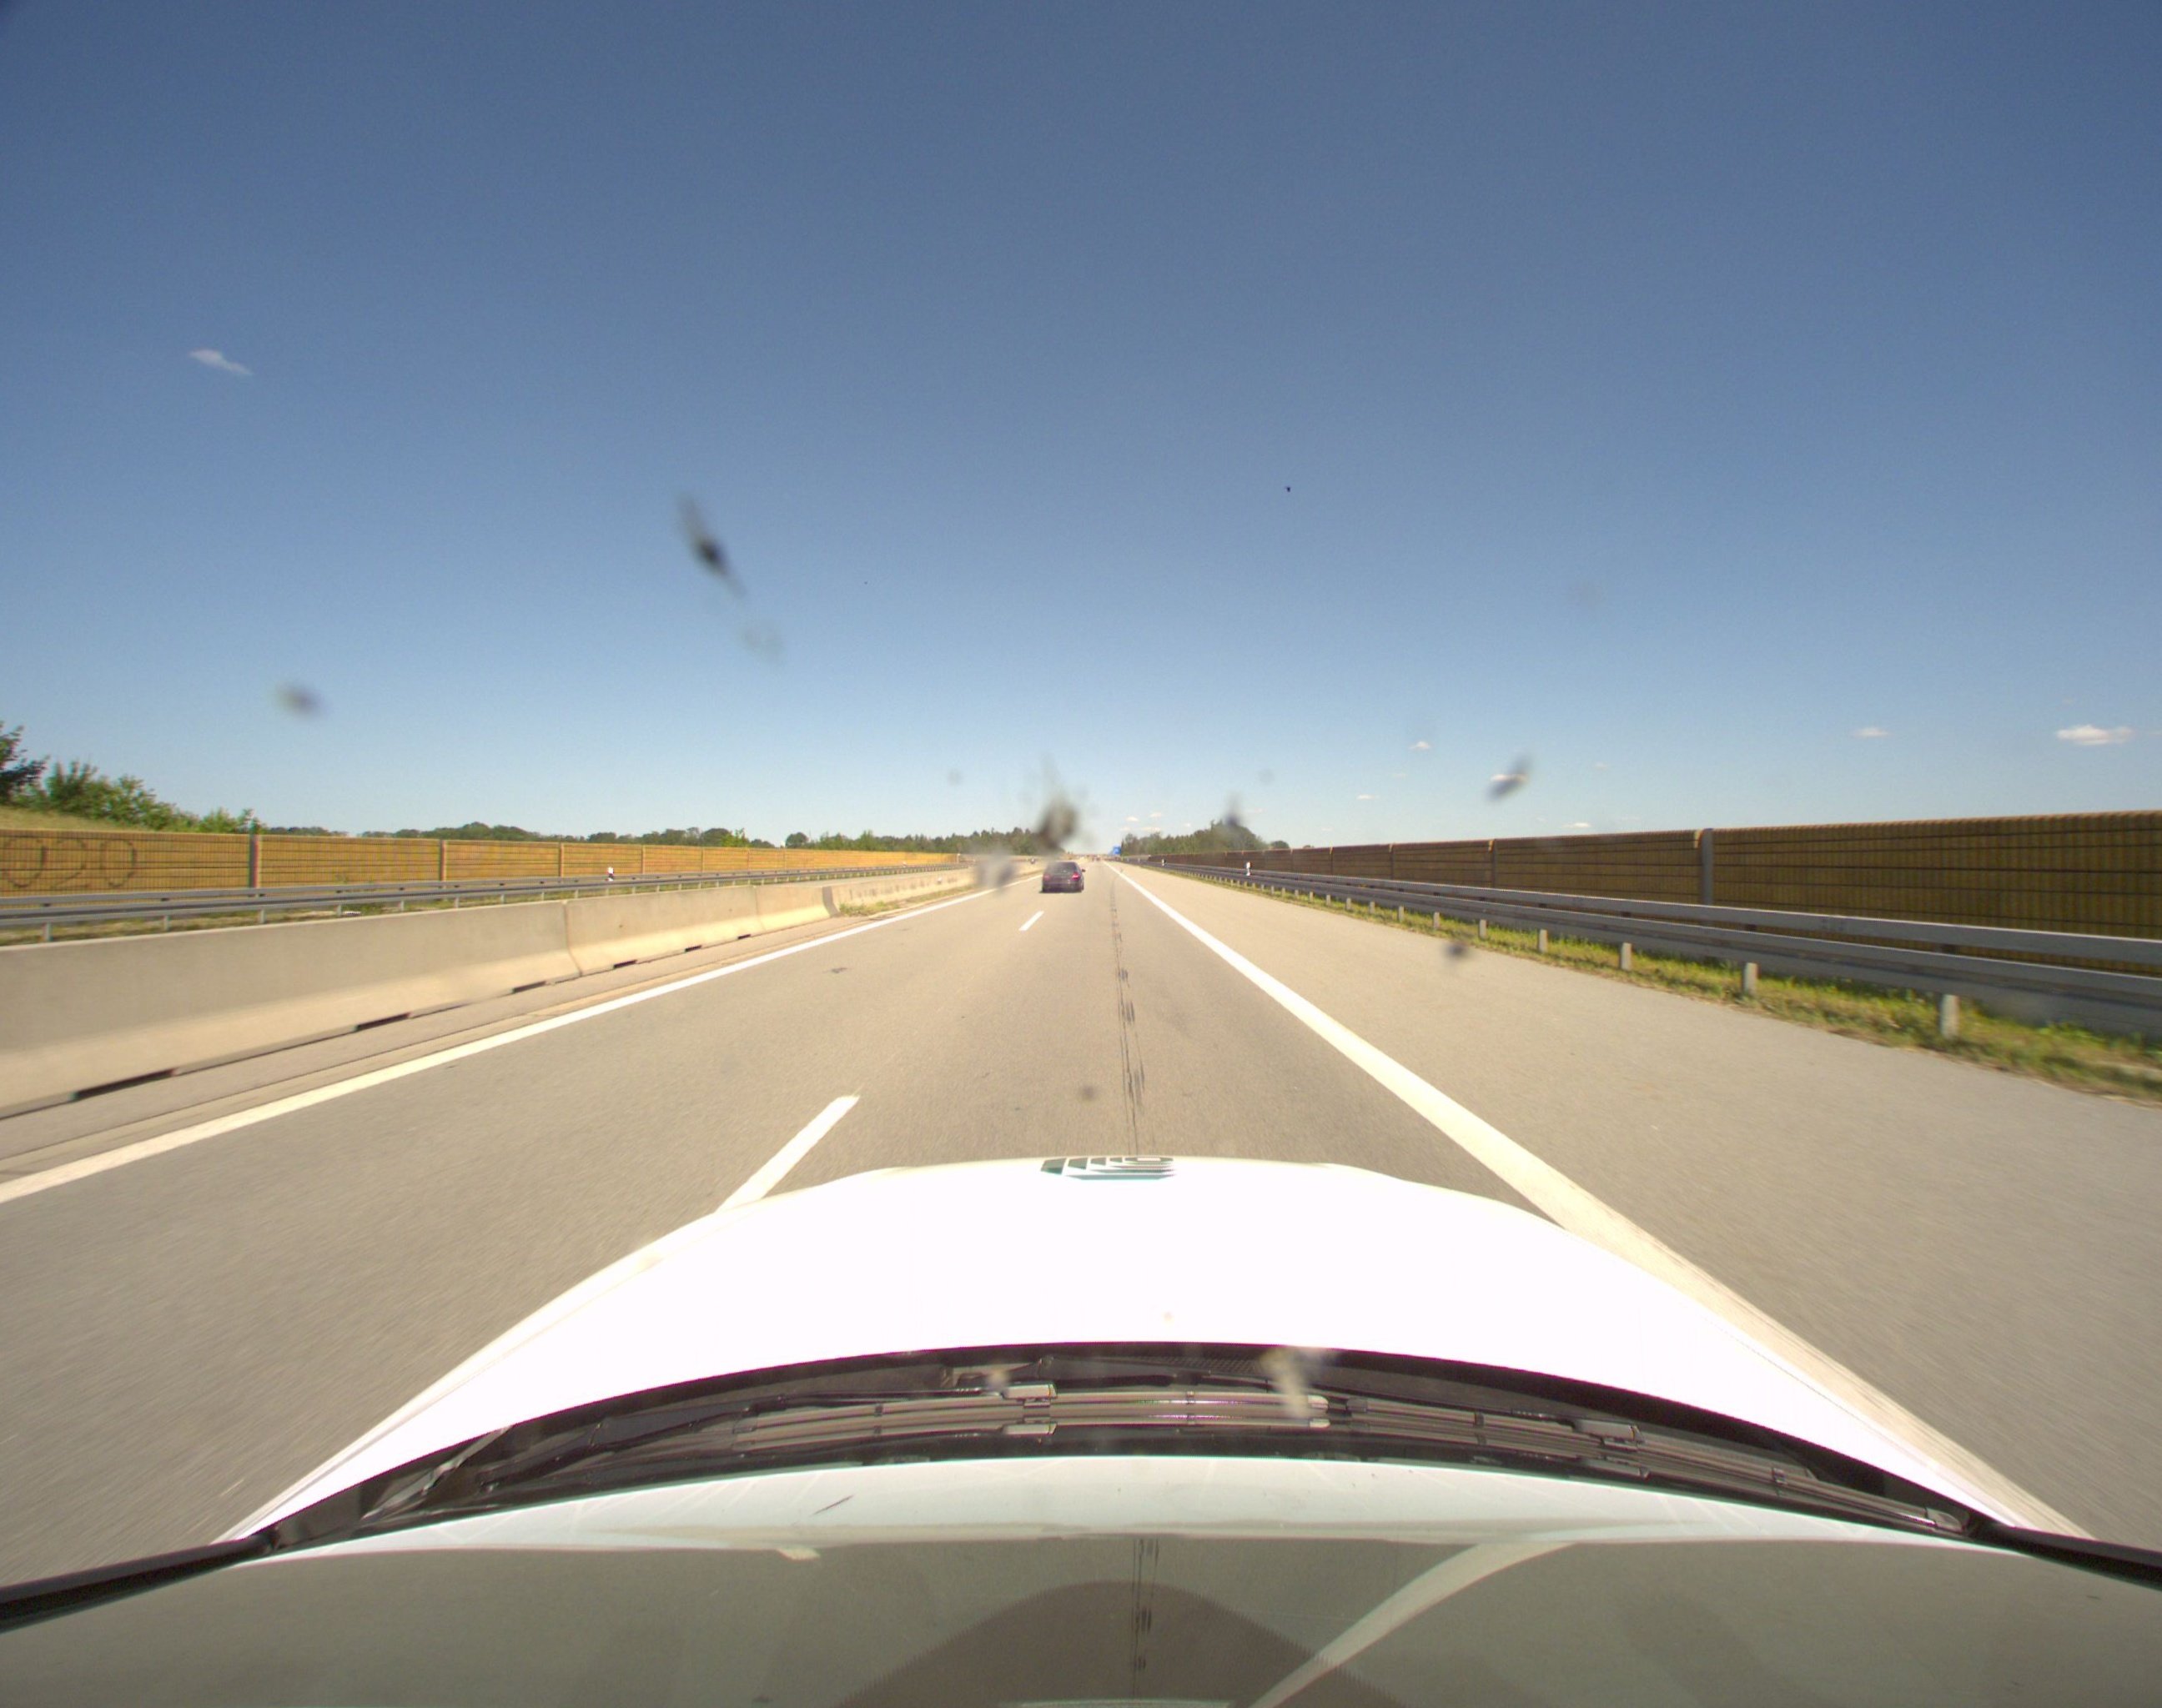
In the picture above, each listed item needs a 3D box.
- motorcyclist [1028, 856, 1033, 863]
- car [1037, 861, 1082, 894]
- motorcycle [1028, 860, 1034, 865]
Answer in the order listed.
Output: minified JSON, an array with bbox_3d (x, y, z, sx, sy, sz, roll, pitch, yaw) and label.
[{"bbox_3d":[-10.903,1.138,176.009,1.009,1.564,1.429,-1,-1,1],"label":"motorcyclist"},{"bbox_3d":[-0.926,1.031,37.090,1.783,1.374,3.918,0,0,1],"label":"car"},{"bbox_3d":[-10.891,1.832,176.077,1.009,1.167,2.869,-1,0,1],"label":"motorcycle"}]
